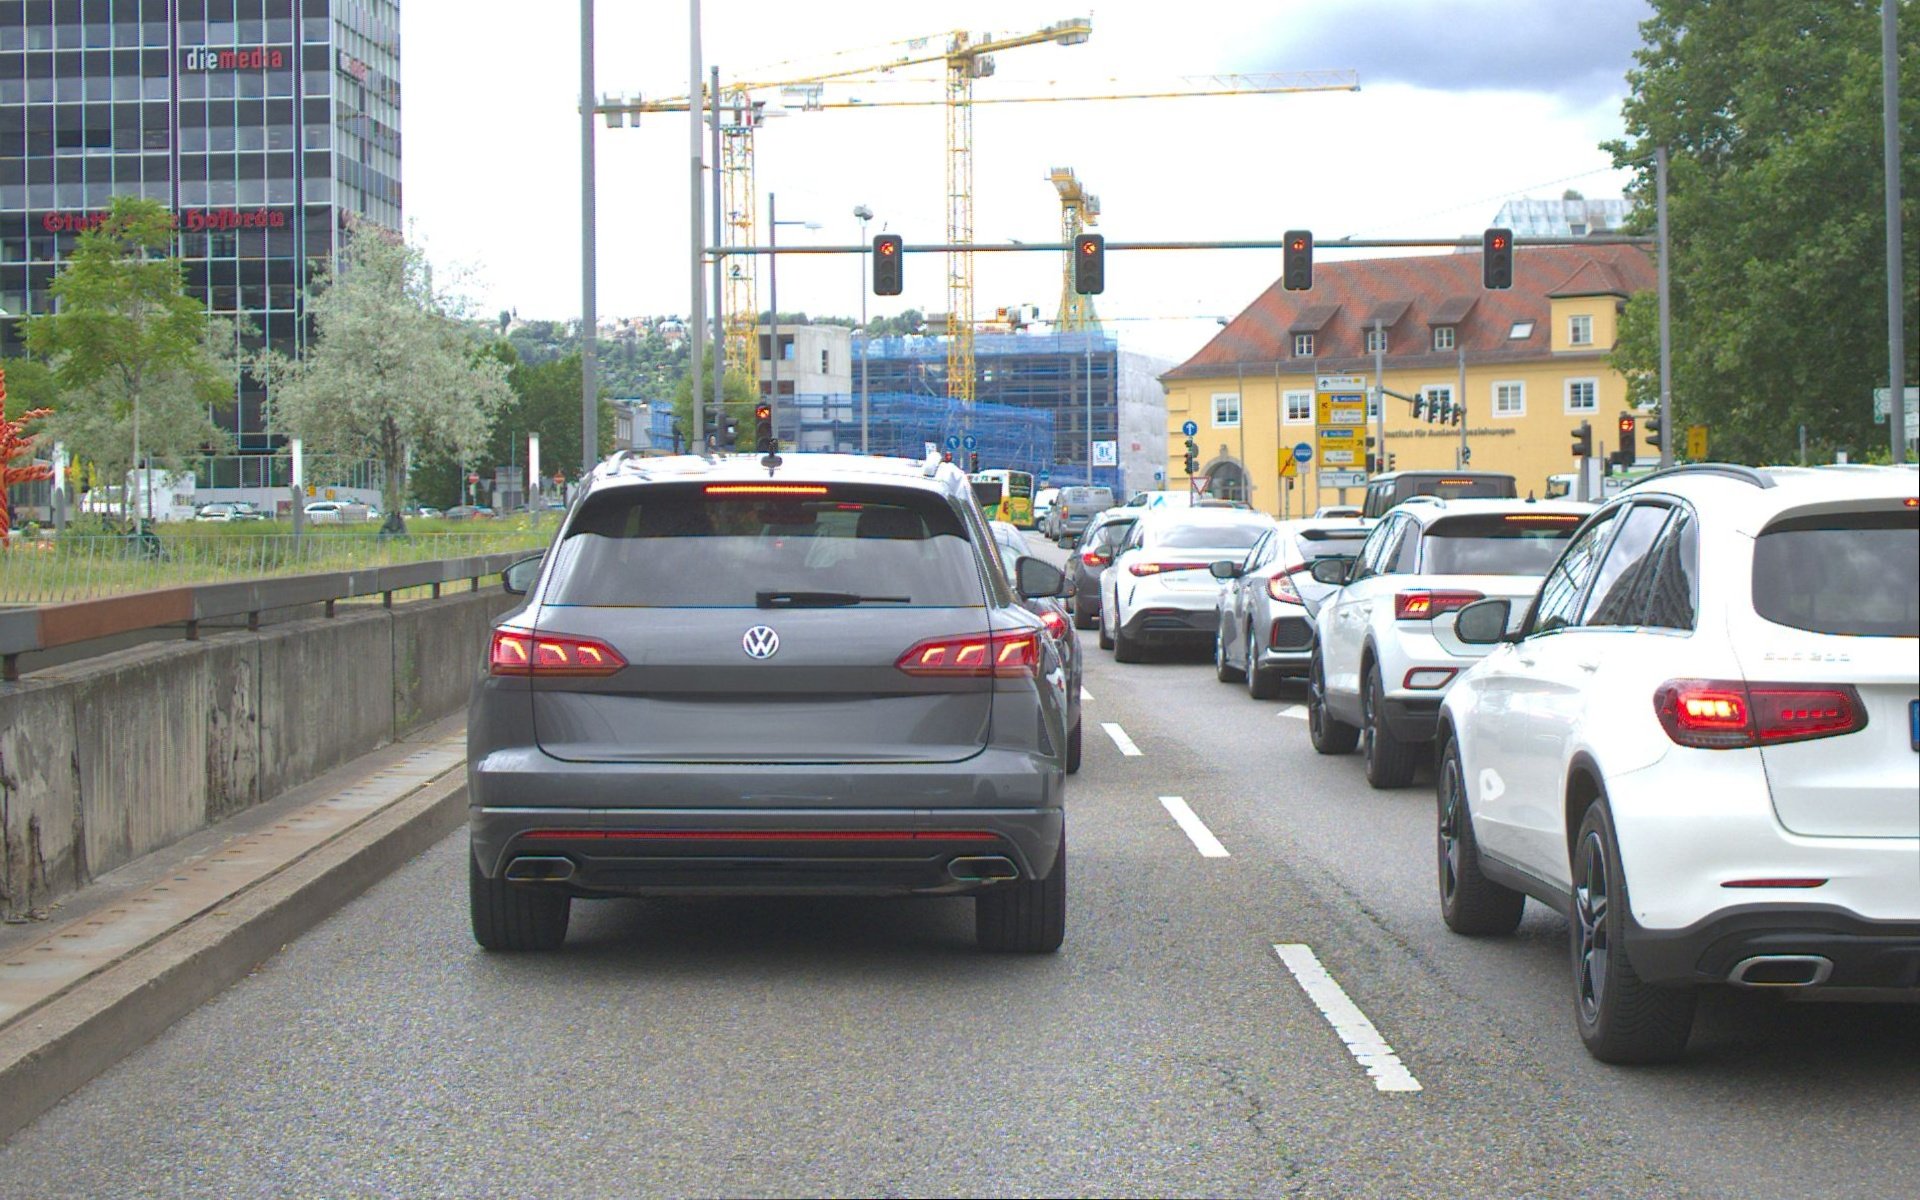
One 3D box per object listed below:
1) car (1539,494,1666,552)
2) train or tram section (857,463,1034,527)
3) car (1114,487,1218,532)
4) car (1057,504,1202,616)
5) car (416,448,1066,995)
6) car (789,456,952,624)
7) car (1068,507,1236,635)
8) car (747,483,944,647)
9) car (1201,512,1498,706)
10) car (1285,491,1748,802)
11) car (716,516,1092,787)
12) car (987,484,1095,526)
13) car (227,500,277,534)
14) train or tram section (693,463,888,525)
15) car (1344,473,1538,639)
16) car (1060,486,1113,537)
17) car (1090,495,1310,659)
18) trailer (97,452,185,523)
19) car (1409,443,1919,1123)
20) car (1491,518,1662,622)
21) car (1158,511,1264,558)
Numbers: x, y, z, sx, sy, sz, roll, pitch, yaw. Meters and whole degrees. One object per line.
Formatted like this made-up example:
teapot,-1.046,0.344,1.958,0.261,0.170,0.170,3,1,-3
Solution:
car,23.230,-2.785,124.309,3.995,2.007,1.996,2,0,34
train or tram section,-0.747,-5.274,172.264,8.940,2.999,2.591,2,0,35
car,9.669,-4.244,161.586,4.454,2.007,1.996,2,0,34
car,2.407,-0.586,49.751,1.926,1.524,4.048,1,1,1
car,-0.690,0.318,12.345,1.951,1.646,4.000,0,1,-1
car,-1.133,-0.789,44.292,1.951,2.011,3.931,2,1,-1
car,2.375,-0.382,43.465,1.926,1.524,4.048,1,1,1
car,-1.189,-0.402,36.688,1.951,1.594,3.931,2,1,-1
car,3.067,0.034,27.925,1.926,1.427,4.490,1,1,1
car,3.013,0.201,19.549,1.926,1.545,4.490,1,1,1
car,-0.330,0.227,20.159,1.951,1.379,3.931,2,1,-1
car,3.331,-3.935,142.364,4.108,1.605,1.826,2,0,35
car,-33.516,-3.899,162.766,1.732,1.489,3.595,2,0,-3
train or tram section,-8.793,-5.508,177.610,10.415,2.999,2.592,2,0,33
car,6.193,-0.574,44.682,1.910,2.007,4.012,2,1,0
car,4.284,-3.001,117.125,1.619,1.622,4.000,2,0,0
car,2.347,-0.251,34.645,1.926,1.524,4.490,1,1,1
trailer,-31.094,-4.296,130.699,2.037,2.595,5.509,2,2,-1
car,2.618,0.378,10.565,1.926,1.648,4.490,0,2,1
car,9.189,-0.463,51.516,1.757,1.442,3.634,2,1,-2
car,11.331,-2.968,155.151,4.454,2.007,1.699,2,0,34
